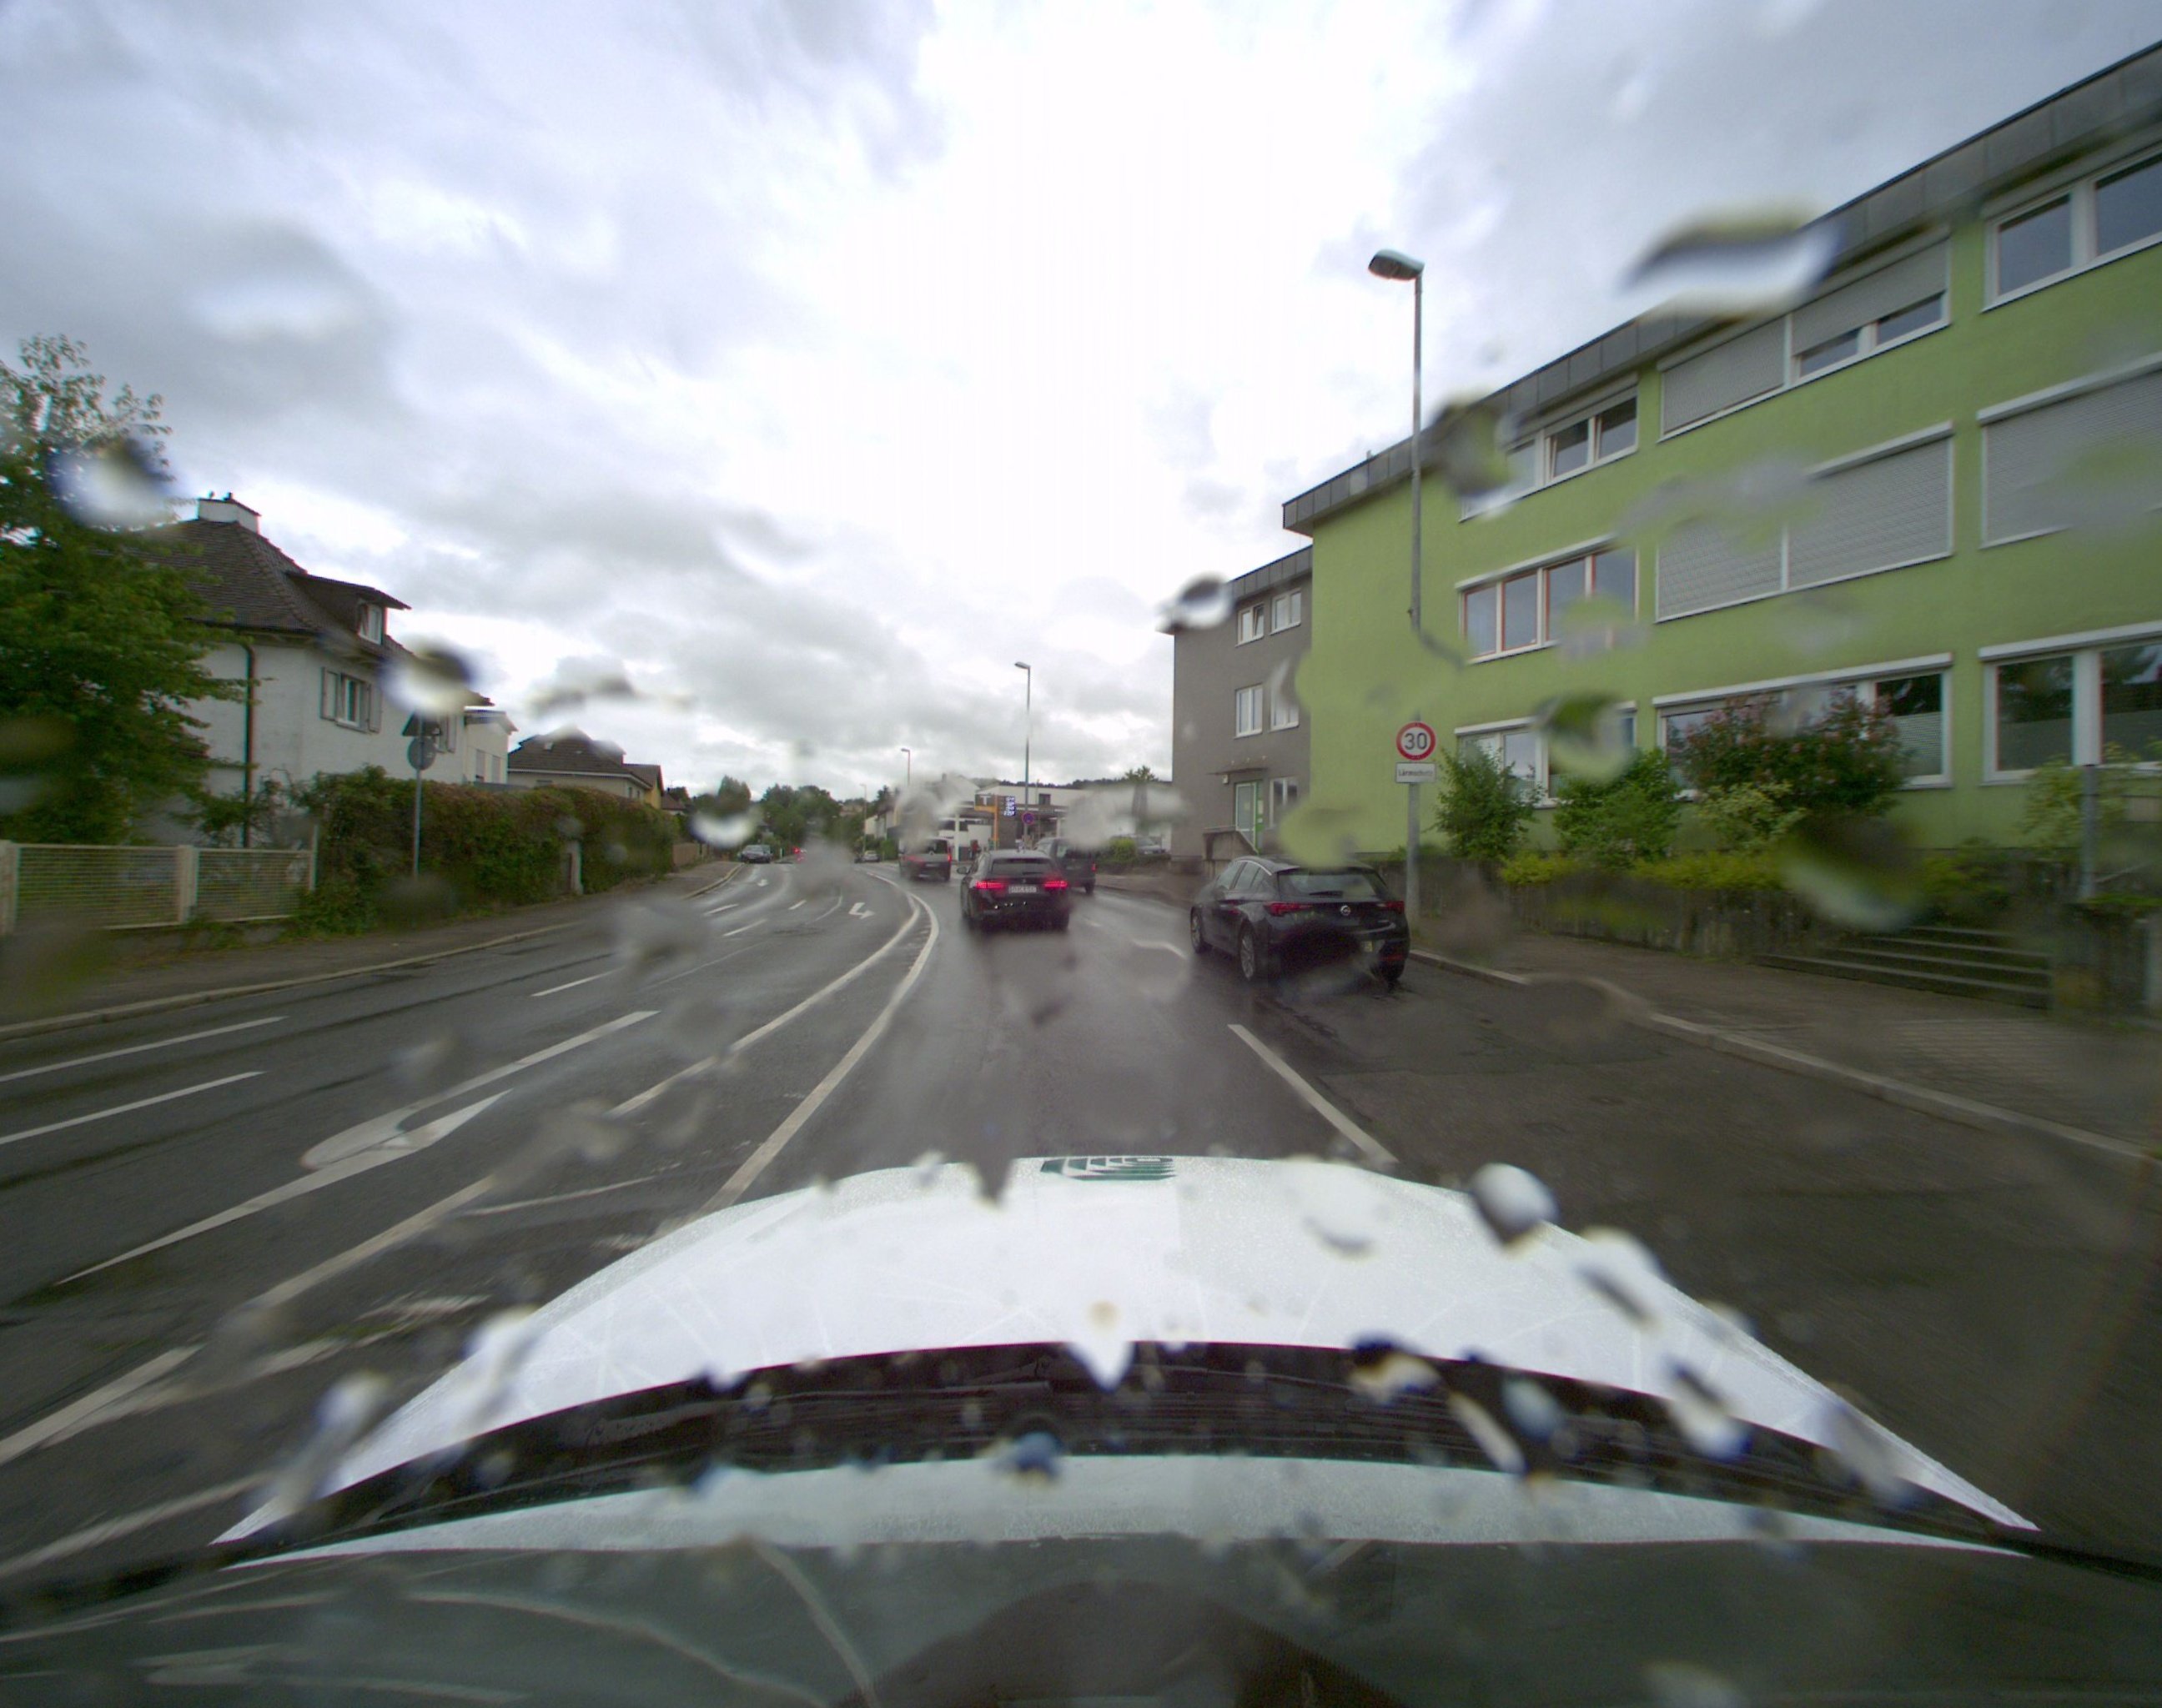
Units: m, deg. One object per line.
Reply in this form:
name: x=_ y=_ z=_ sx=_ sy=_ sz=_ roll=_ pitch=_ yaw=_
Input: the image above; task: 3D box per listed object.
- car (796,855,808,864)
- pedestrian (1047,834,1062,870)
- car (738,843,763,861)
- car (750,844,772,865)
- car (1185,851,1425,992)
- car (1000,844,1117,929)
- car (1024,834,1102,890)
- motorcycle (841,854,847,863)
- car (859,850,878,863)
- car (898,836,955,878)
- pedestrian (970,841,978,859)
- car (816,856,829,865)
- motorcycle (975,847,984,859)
car: x=-52.289 y=1.015 z=152.860 sx=1.998 sy=1.741 sz=3.976 roll=0 pitch=-1 yaw=-17
pedestrian: x=-1.495 y=-0.098 z=45.686 sx=0.716 sy=2.014 sz=0.612 roll=0 pitch=-1 yaw=-12
car: x=-27.224 y=-0.139 z=67.145 sx=1.756 sy=1.439 sz=4.101 roll=0 pitch=-1 yaw=-20
car: x=-32.610 y=0.068 z=82.897 sx=1.921 sy=2.003 sz=5.048 roll=1 pitch=-1 yaw=-23
car: x=2.621 y=0.698 z=10.549 sx=1.753 sy=1.449 sz=3.994 roll=0 pitch=0 yaw=-5
car: x=-0.586 y=0.613 z=16.374 sx=1.992 sy=1.484 sz=3.990 roll=0 pitch=-1 yaw=-7
car: x=-0.698 y=0.301 z=28.093 sx=1.841 sy=1.767 sz=3.980 roll=0 pitch=-1 yaw=-14
motorcycle: x=-39.541 y=0.784 z=135.943 sx=0.706 sy=1.509 sz=2.135 roll=-2 pitch=0 yaw=-21
car: x=-26.877 y=0.349 z=102.932 sx=1.707 sy=1.510 sz=4.501 roll=1 pitch=-1 yaw=-21
car: x=-6.903 y=0.168 z=36.105 sx=1.999 sy=1.738 sz=3.976 roll=0 pitch=-1 yaw=-18
pedestrian: x=-9.547 y=-0.364 z=72.845 sx=0.612 sy=1.656 sz=0.581 roll=1 pitch=-2 yaw=-21
car: x=-53.084 y=1.303 z=167.295 sx=2.003 sy=1.741 sz=3.968 roll=1 pitch=-1 yaw=-24
motorcycle: x=-9.041 y=-0.059 z=72.684 sx=0.464 sy=1.055 sz=1.380 roll=1 pitch=-1 yaw=-21
